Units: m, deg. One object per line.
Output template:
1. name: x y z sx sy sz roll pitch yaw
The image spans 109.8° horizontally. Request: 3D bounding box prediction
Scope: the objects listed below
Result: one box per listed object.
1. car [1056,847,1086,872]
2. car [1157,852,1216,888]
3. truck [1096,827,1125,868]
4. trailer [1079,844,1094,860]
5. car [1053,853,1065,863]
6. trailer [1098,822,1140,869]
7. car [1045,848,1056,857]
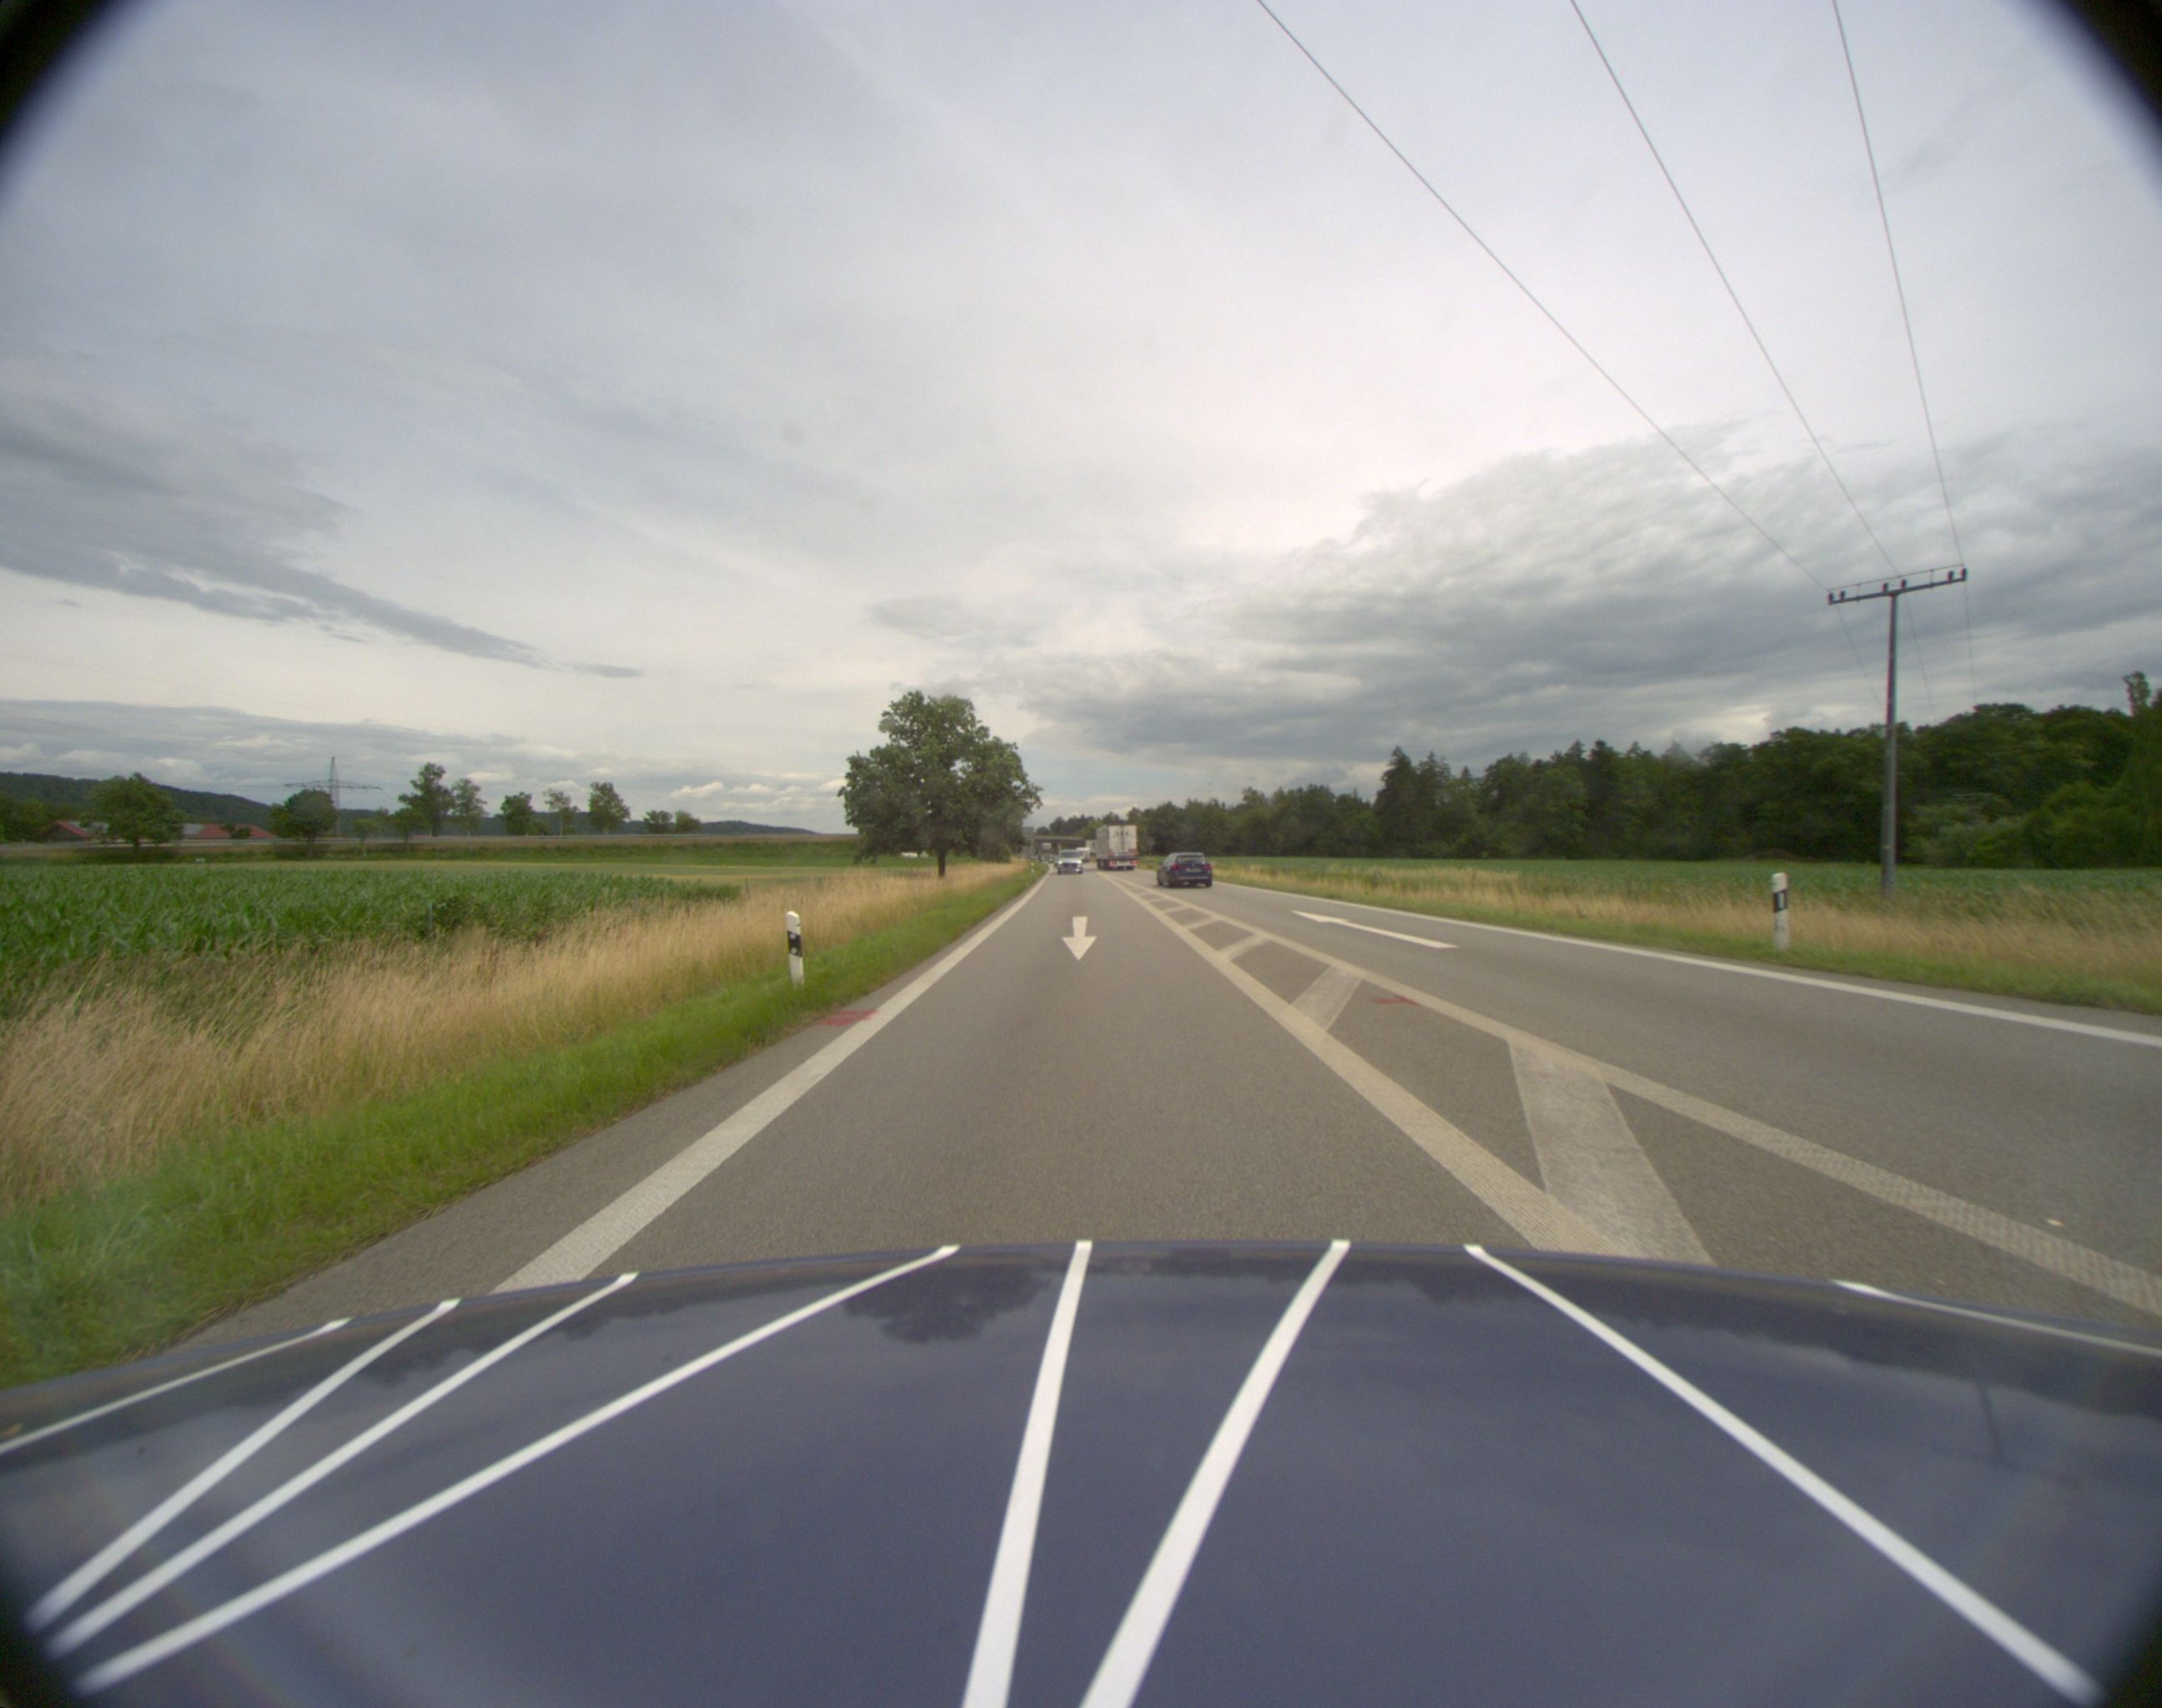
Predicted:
1. car: -0.815 0.381 59.294 1.924 1.823 3.998 -2 1 -5
2. car: 4.540 0.651 33.439 1.862 1.470 5.197 1 0 0
3. truck: 2.980 -0.656 77.933 2.496 3.972 5.203 -1 0 -2
4. trailer: 0.845 -0.377 123.251 2.188 2.560 6.241 -2 1 -2
5. car: -3.835 0.681 132.084 1.862 1.679 4.112 -2 1 0
6. trailer: 3.328 -0.680 70.823 2.496 3.972 13.072 -1 0 -3
7. car: -6.977 -0.377 174.241 1.998 2.002 4.001 -2 1 4
